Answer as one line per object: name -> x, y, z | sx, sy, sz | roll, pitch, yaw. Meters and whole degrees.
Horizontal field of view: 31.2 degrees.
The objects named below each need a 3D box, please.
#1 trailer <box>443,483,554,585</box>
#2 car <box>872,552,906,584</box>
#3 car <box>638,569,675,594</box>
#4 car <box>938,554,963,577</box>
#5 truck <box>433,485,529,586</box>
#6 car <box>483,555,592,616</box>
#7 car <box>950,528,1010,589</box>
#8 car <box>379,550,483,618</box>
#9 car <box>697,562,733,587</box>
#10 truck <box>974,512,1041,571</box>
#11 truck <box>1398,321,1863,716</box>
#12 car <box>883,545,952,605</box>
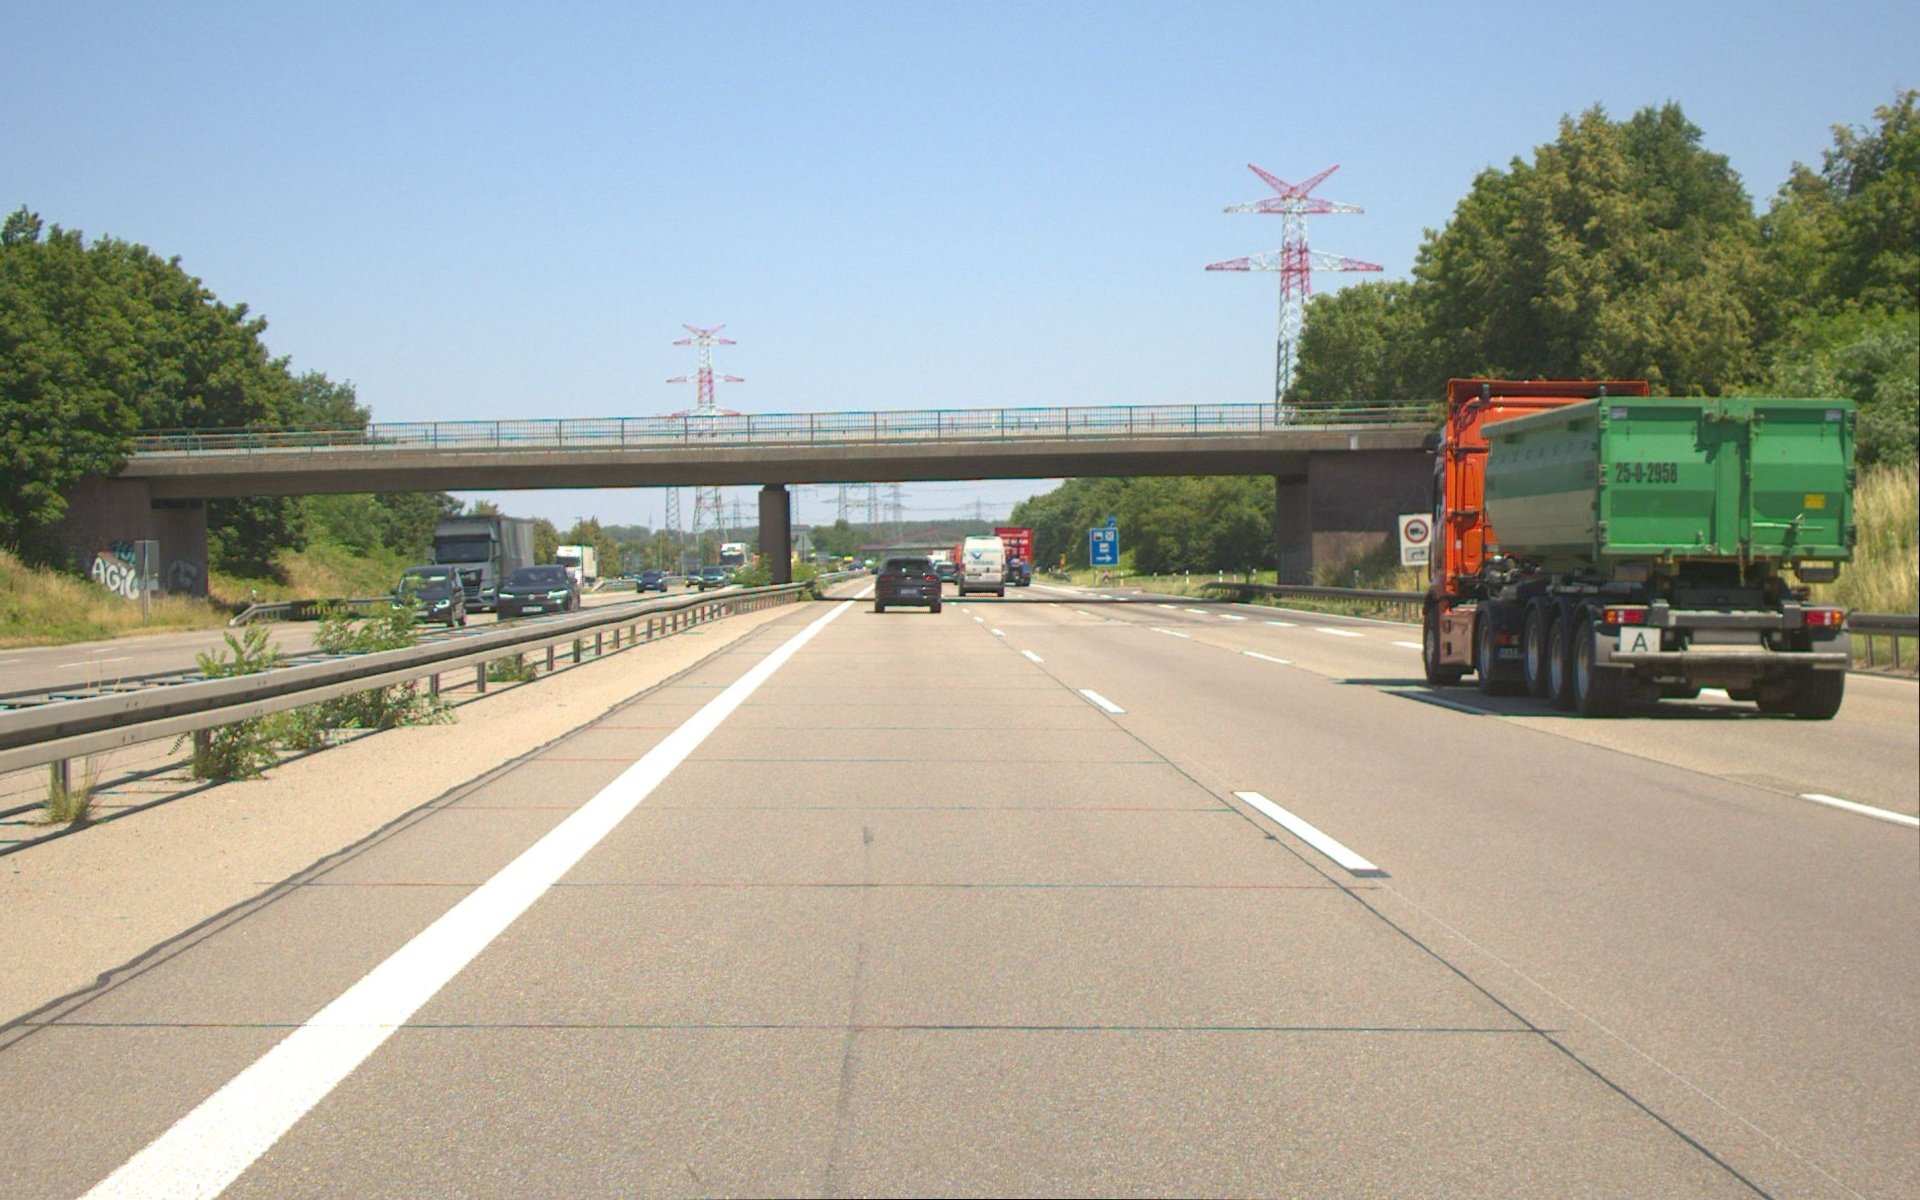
trailer -> -19.906, -2.833, 149.227 | 2.949, 4.094, 14.104 | -3, 1, -1
car -> -3.917, -1.767, 190.065 | 1.794, 1.744, 4.000 | 1, 1, -1
car -> -21.597, -1.318, 244.571 | 2.227, 1.605, 5.060 | -3, 1, -1
car -> -0.679, -2.495, 250.538 | 1.747, 1.628, 4.004 | 1, 1, -1
truck -> -19.759, -2.649, 142.199 | 2.949, 3.946, 6.953 | -3, 1, -1
car -> -10.964, -0.395, 89.520 | 2.227, 1.419, 5.300 | -3, 1, -1
car -> 0.899, -1.951, 160.612 | 2.621, 2.749, 6.096 | 1, 1, -1
car -> -15.360, -0.494, 100.043 | 2.227, 1.806, 5.300 | -3, 1, -1
car -> -17.262, -1.826, 242.111 | 2.227, 1.605, 5.060 | -3, 1, -1
truck -> 3.250, -4.080, 240.720 | 4.331, 3.928, 16.078 | 1, 1, 0
truck -> 7.286, -0.879, 39.525 | 2.681, 3.785, 12.479 | 1, 1, -1
car -> -1.301, -0.757, 103.467 | 1.993, 1.744, 4.000 | 1, 1, -1
